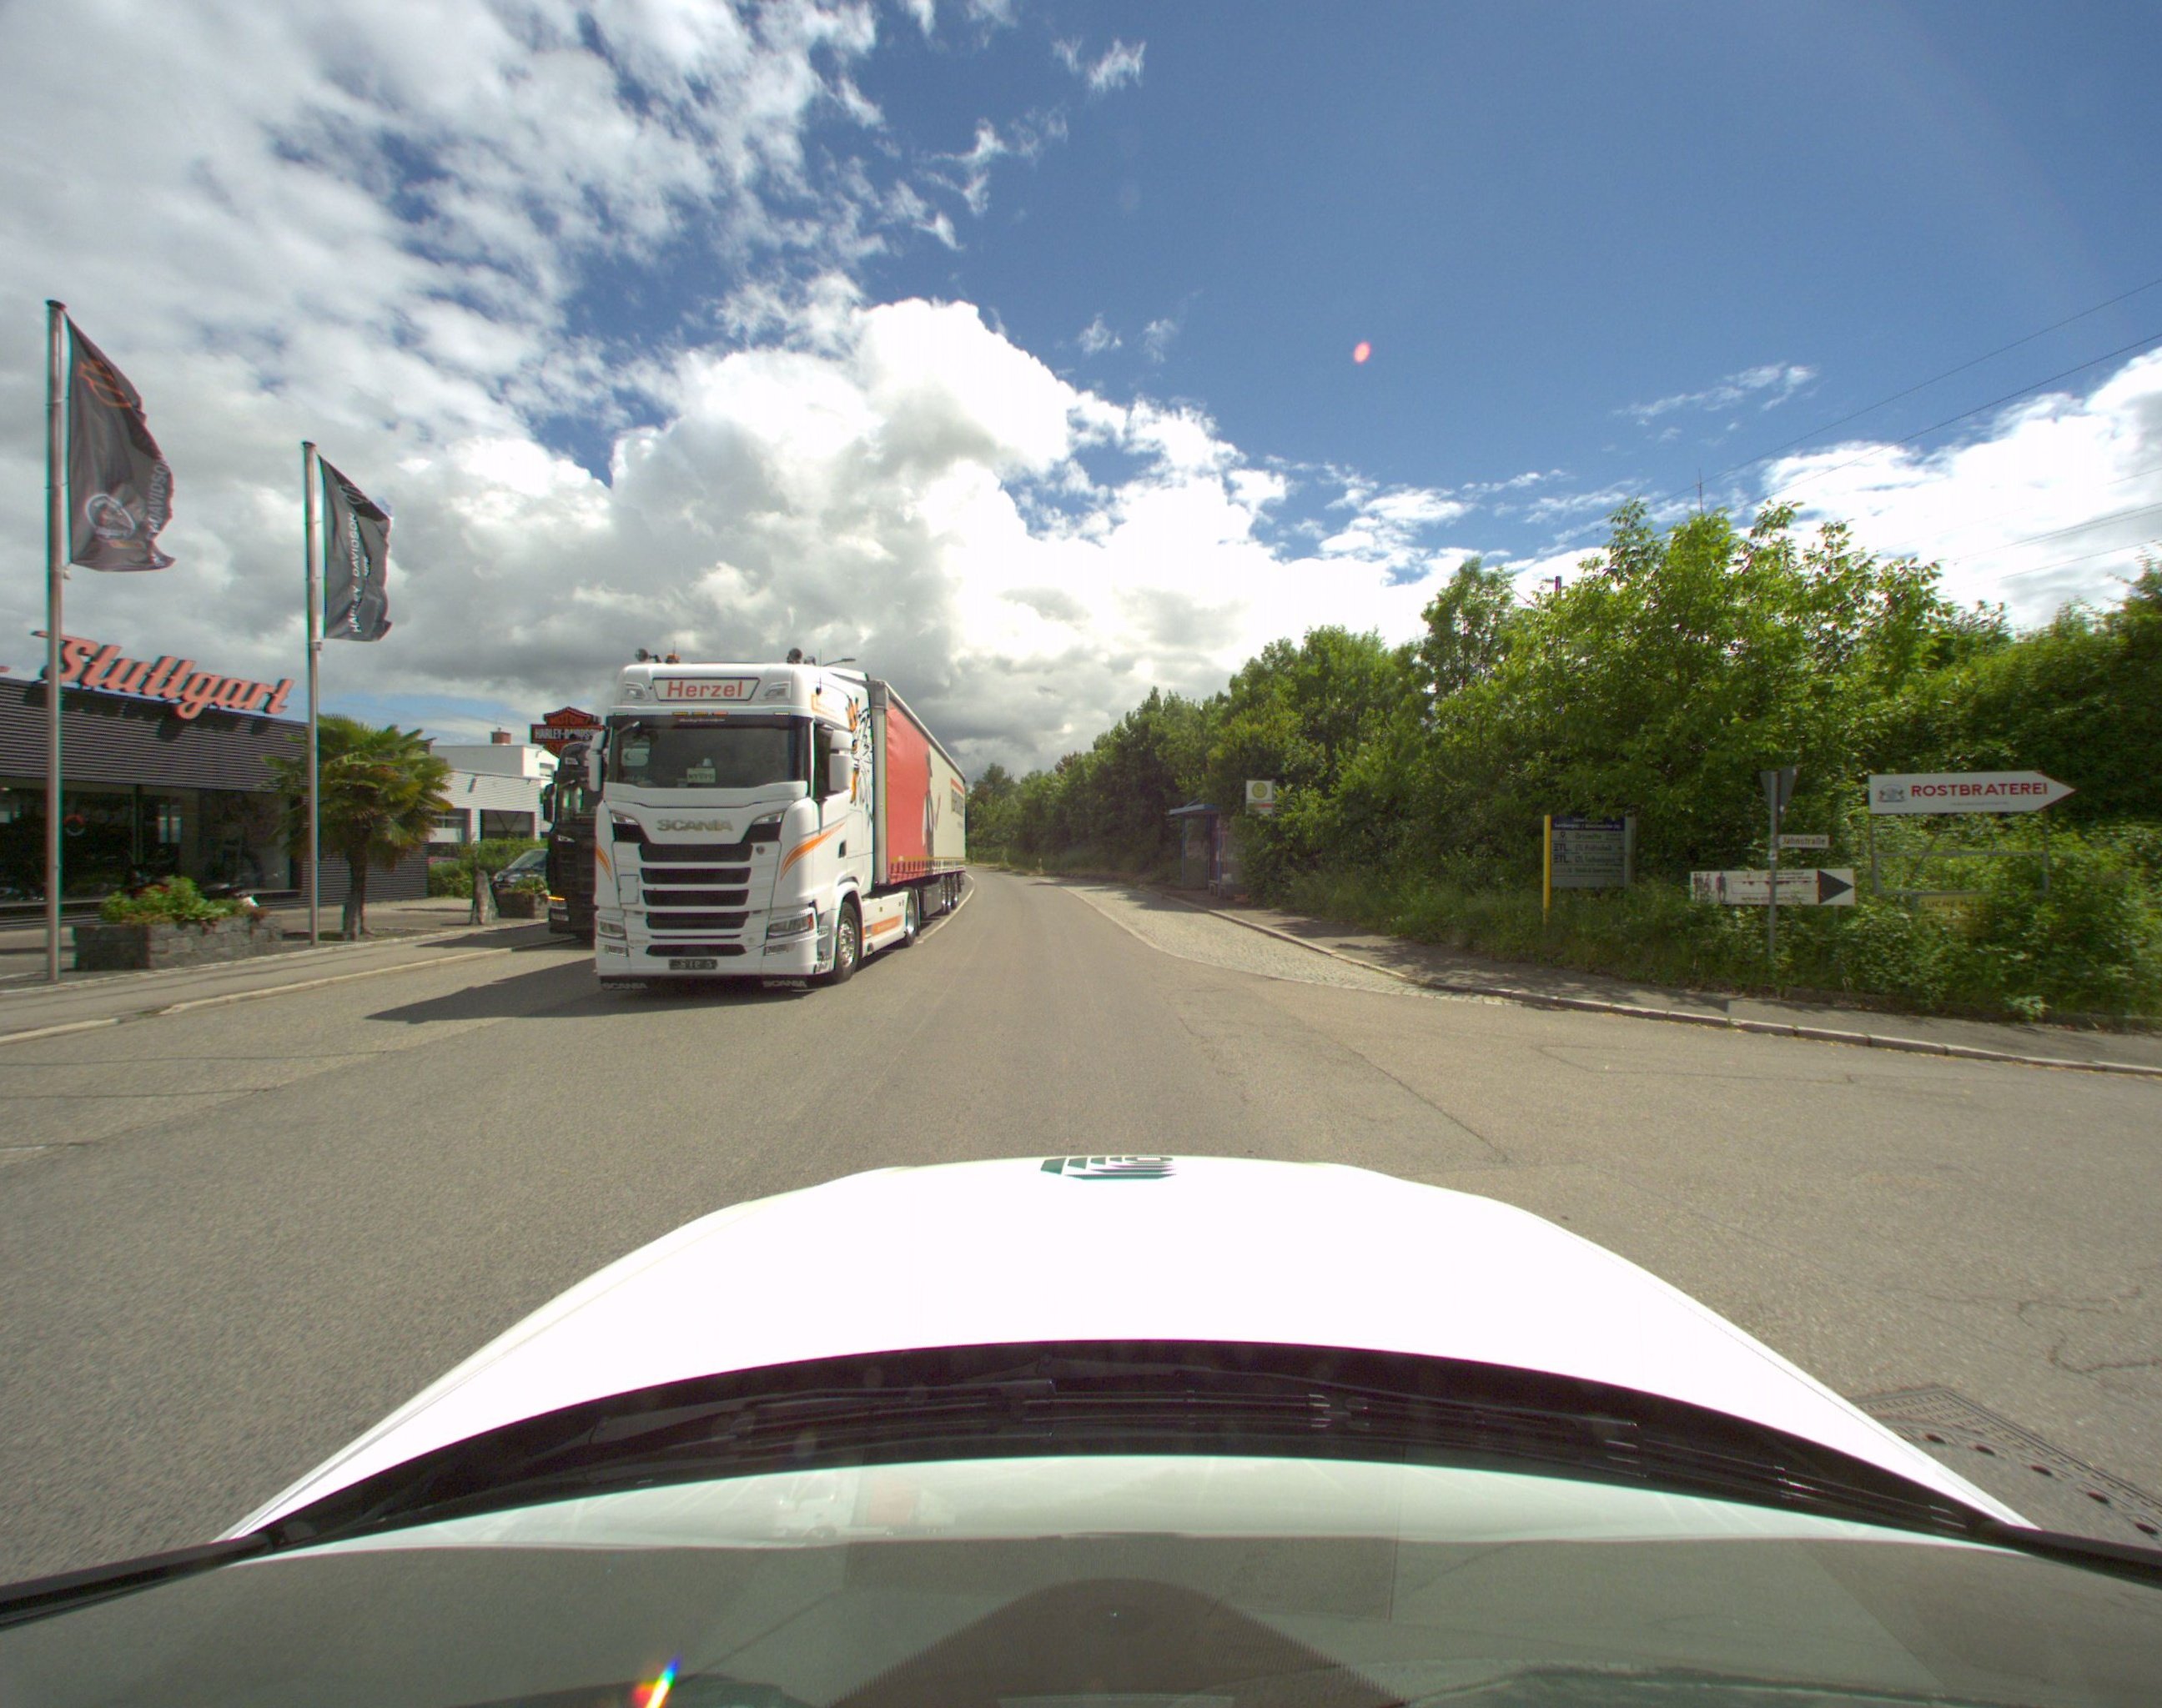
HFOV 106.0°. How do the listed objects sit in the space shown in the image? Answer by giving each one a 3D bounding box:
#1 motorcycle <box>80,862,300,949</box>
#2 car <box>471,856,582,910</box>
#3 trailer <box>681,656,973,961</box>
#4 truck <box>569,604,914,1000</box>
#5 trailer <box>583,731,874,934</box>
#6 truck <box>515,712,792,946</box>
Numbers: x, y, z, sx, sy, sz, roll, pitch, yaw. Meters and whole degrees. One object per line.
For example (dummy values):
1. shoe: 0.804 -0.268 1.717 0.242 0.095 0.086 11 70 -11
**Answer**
1. motorcycle: -14.022 0.787 12.865 2.553 1.306 0.849 0 0 2
2. car: -14.868 0.737 21.970 1.040 1.364 2.690 0 0 3
3. trailer: -4.484 -0.615 18.832 2.765 4.144 15.331 1 0 -3
4. truck: -4.061 -0.536 11.059 2.765 4.119 4.980 1 0 -4
5. trailer: -9.014 -0.430 24.091 2.793 4.053 15.534 1 0 -4
6. truck: -8.586 -0.424 17.436 2.793 4.053 6.492 1 0 -4
